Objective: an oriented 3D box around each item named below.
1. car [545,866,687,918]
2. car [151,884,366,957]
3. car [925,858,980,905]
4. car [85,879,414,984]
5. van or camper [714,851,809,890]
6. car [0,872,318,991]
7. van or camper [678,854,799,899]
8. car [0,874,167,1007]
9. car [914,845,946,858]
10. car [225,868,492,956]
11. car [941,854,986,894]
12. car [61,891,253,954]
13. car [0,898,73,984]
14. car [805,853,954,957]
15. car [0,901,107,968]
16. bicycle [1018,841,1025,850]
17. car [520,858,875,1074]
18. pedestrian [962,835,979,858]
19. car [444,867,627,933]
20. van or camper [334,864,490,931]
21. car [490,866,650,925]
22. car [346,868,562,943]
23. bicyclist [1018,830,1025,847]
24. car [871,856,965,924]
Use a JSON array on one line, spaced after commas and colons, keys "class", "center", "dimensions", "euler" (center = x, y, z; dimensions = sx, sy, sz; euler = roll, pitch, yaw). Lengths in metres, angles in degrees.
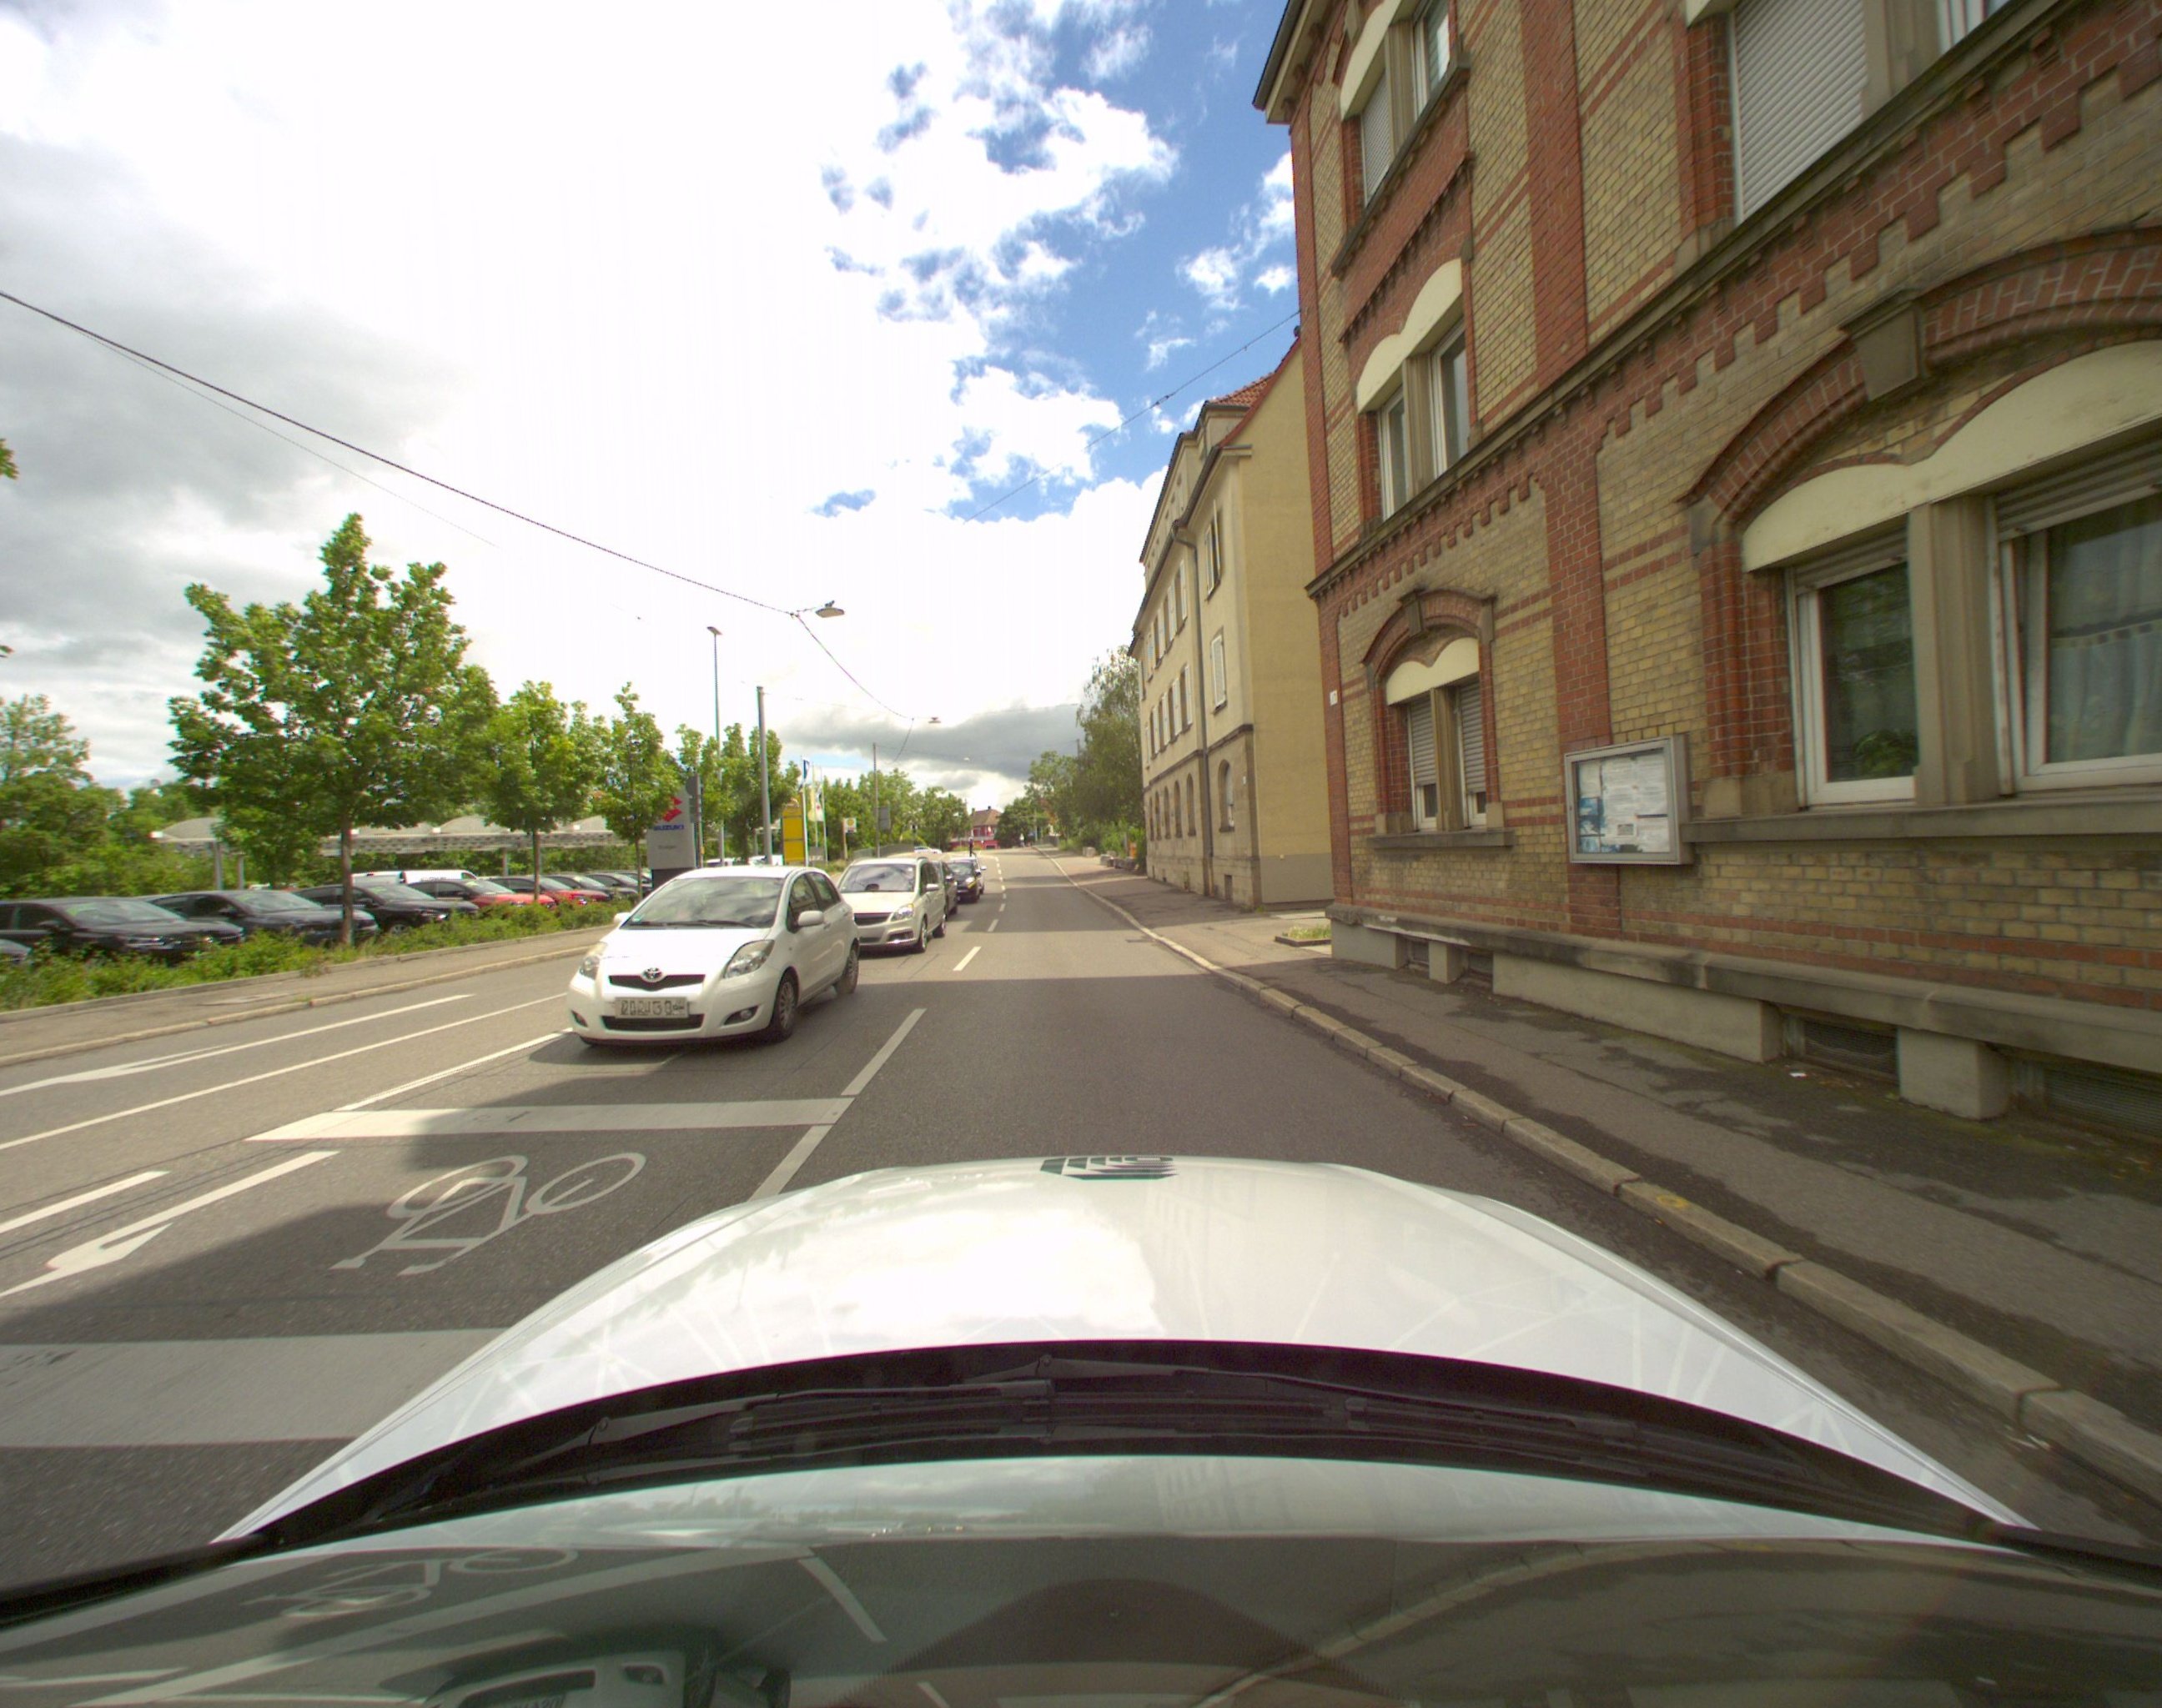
[{"class": "car", "center": [-16.227, 1.288, 28.586], "dimensions": [3.830, 1.461, 1.768], "euler": [-4, 1, -8]}, {"class": "car", "center": [-19.521, 1.538, 19.450], "dimensions": [3.311, 1.373, 1.515], "euler": [-3, 1, -6]}, {"class": "car", "center": [-4.395, 0.909, 28.240], "dimensions": [1.717, 1.484, 3.315], "euler": [-1, 0, -6]}, {"class": "car", "center": [-15.512, 1.398, 15.405], "dimensions": [4.049, 1.497, 1.809], "euler": [-3, 1, -5]}, {"class": "van or camper", "center": [-18.408, 0.923, 47.230], "dimensions": [1.965, 1.963, 4.989], "euler": [-1, 1, 27]}, {"class": "car", "center": [-15.251, 1.206, 12.924], "dimensions": [4.272, 1.497, 1.809], "euler": [-3, 1, -5]}, {"class": "van or camper", "center": [-15.852, 0.998, 37.873], "dimensions": [4.655, 1.749, 1.999], "euler": [-3, 1, -1]}, {"class": "car", "center": [-14.956, 1.174, 10.380], "dimensions": [4.200, 1.497, 1.809], "euler": [-3, 1, -5]}, {"class": "car", "center": [-21.359, -0.301, 115.033], "dimensions": [4.423, 1.831, 1.991], "euler": [0, -1, -14]}, {"class": "car", "center": [-15.676, 1.210, 17.874], "dimensions": [3.975, 1.497, 1.809], "euler": [-3, 1, -5]}, {"class": "car", "center": [-4.928, 0.808, 34.562], "dimensions": [1.717, 1.581, 3.991], "euler": [-1, 0, -6]}, {"class": "car", "center": [-25.778, 1.884, 22.808], "dimensions": [3.311, 1.373, 1.515], "euler": [-3, 1, -6]}, {"class": "car", "center": [-19.824, 1.587, 13.760], "dimensions": [3.311, 1.373, 1.515], "euler": [-3, 1, -6]}, {"class": "car", "center": [-3.467, 0.800, 14.799], "dimensions": [1.714, 1.581, 4.315], "euler": [-1, 0, -2]}, {"class": "car", "center": [-25.540, 1.942, 19.057], "dimensions": [3.311, 1.373, 1.515], "euler": [-3, 1, -6]}, {"class": "bicycle", "center": [-6.838, -1.001, 93.632], "dimensions": [0.685, 0.878, 2.100], "euler": [-2, -4, -1]}, {"class": "car", "center": [-3.376, 0.846, 8.104], "dimensions": [1.714, 1.581, 3.997], "euler": [-1, 0, -2]}, {"class": "pedestrian", "center": [-9.084, -0.619, 66.891], "dimensions": [1.026, 1.836, 1.003], "euler": [-1, 2, 13]}, {"class": "car", "center": [-15.510, 1.266, 23.340], "dimensions": [3.844, 1.497, 1.809], "euler": [-3, 1, -7]}, {"class": "van or camper", "center": [-24.172, 1.488, 29.729], "dimensions": [1.991, 2.013, 4.677], "euler": [-3, 1, -5]}, {"class": "car", "center": [-16.161, 1.285, 25.961], "dimensions": [3.812, 1.497, 1.807], "euler": [-4, 1, -9]}, {"class": "car", "center": [-15.666, 1.257, 20.538], "dimensions": [3.821, 1.497, 1.809], "euler": [-3, 1, -5]}, {"class": "bicyclist", "center": [-6.882, -1.813, 93.643], "dimensions": [0.683, 1.826, 1.079], "euler": [-2, -4, -2]}, {"class": "car", "center": [-4.176, 0.870, 21.487], "dimensions": [1.714, 1.581, 4.248], "euler": [-1, 0, -2]}]
